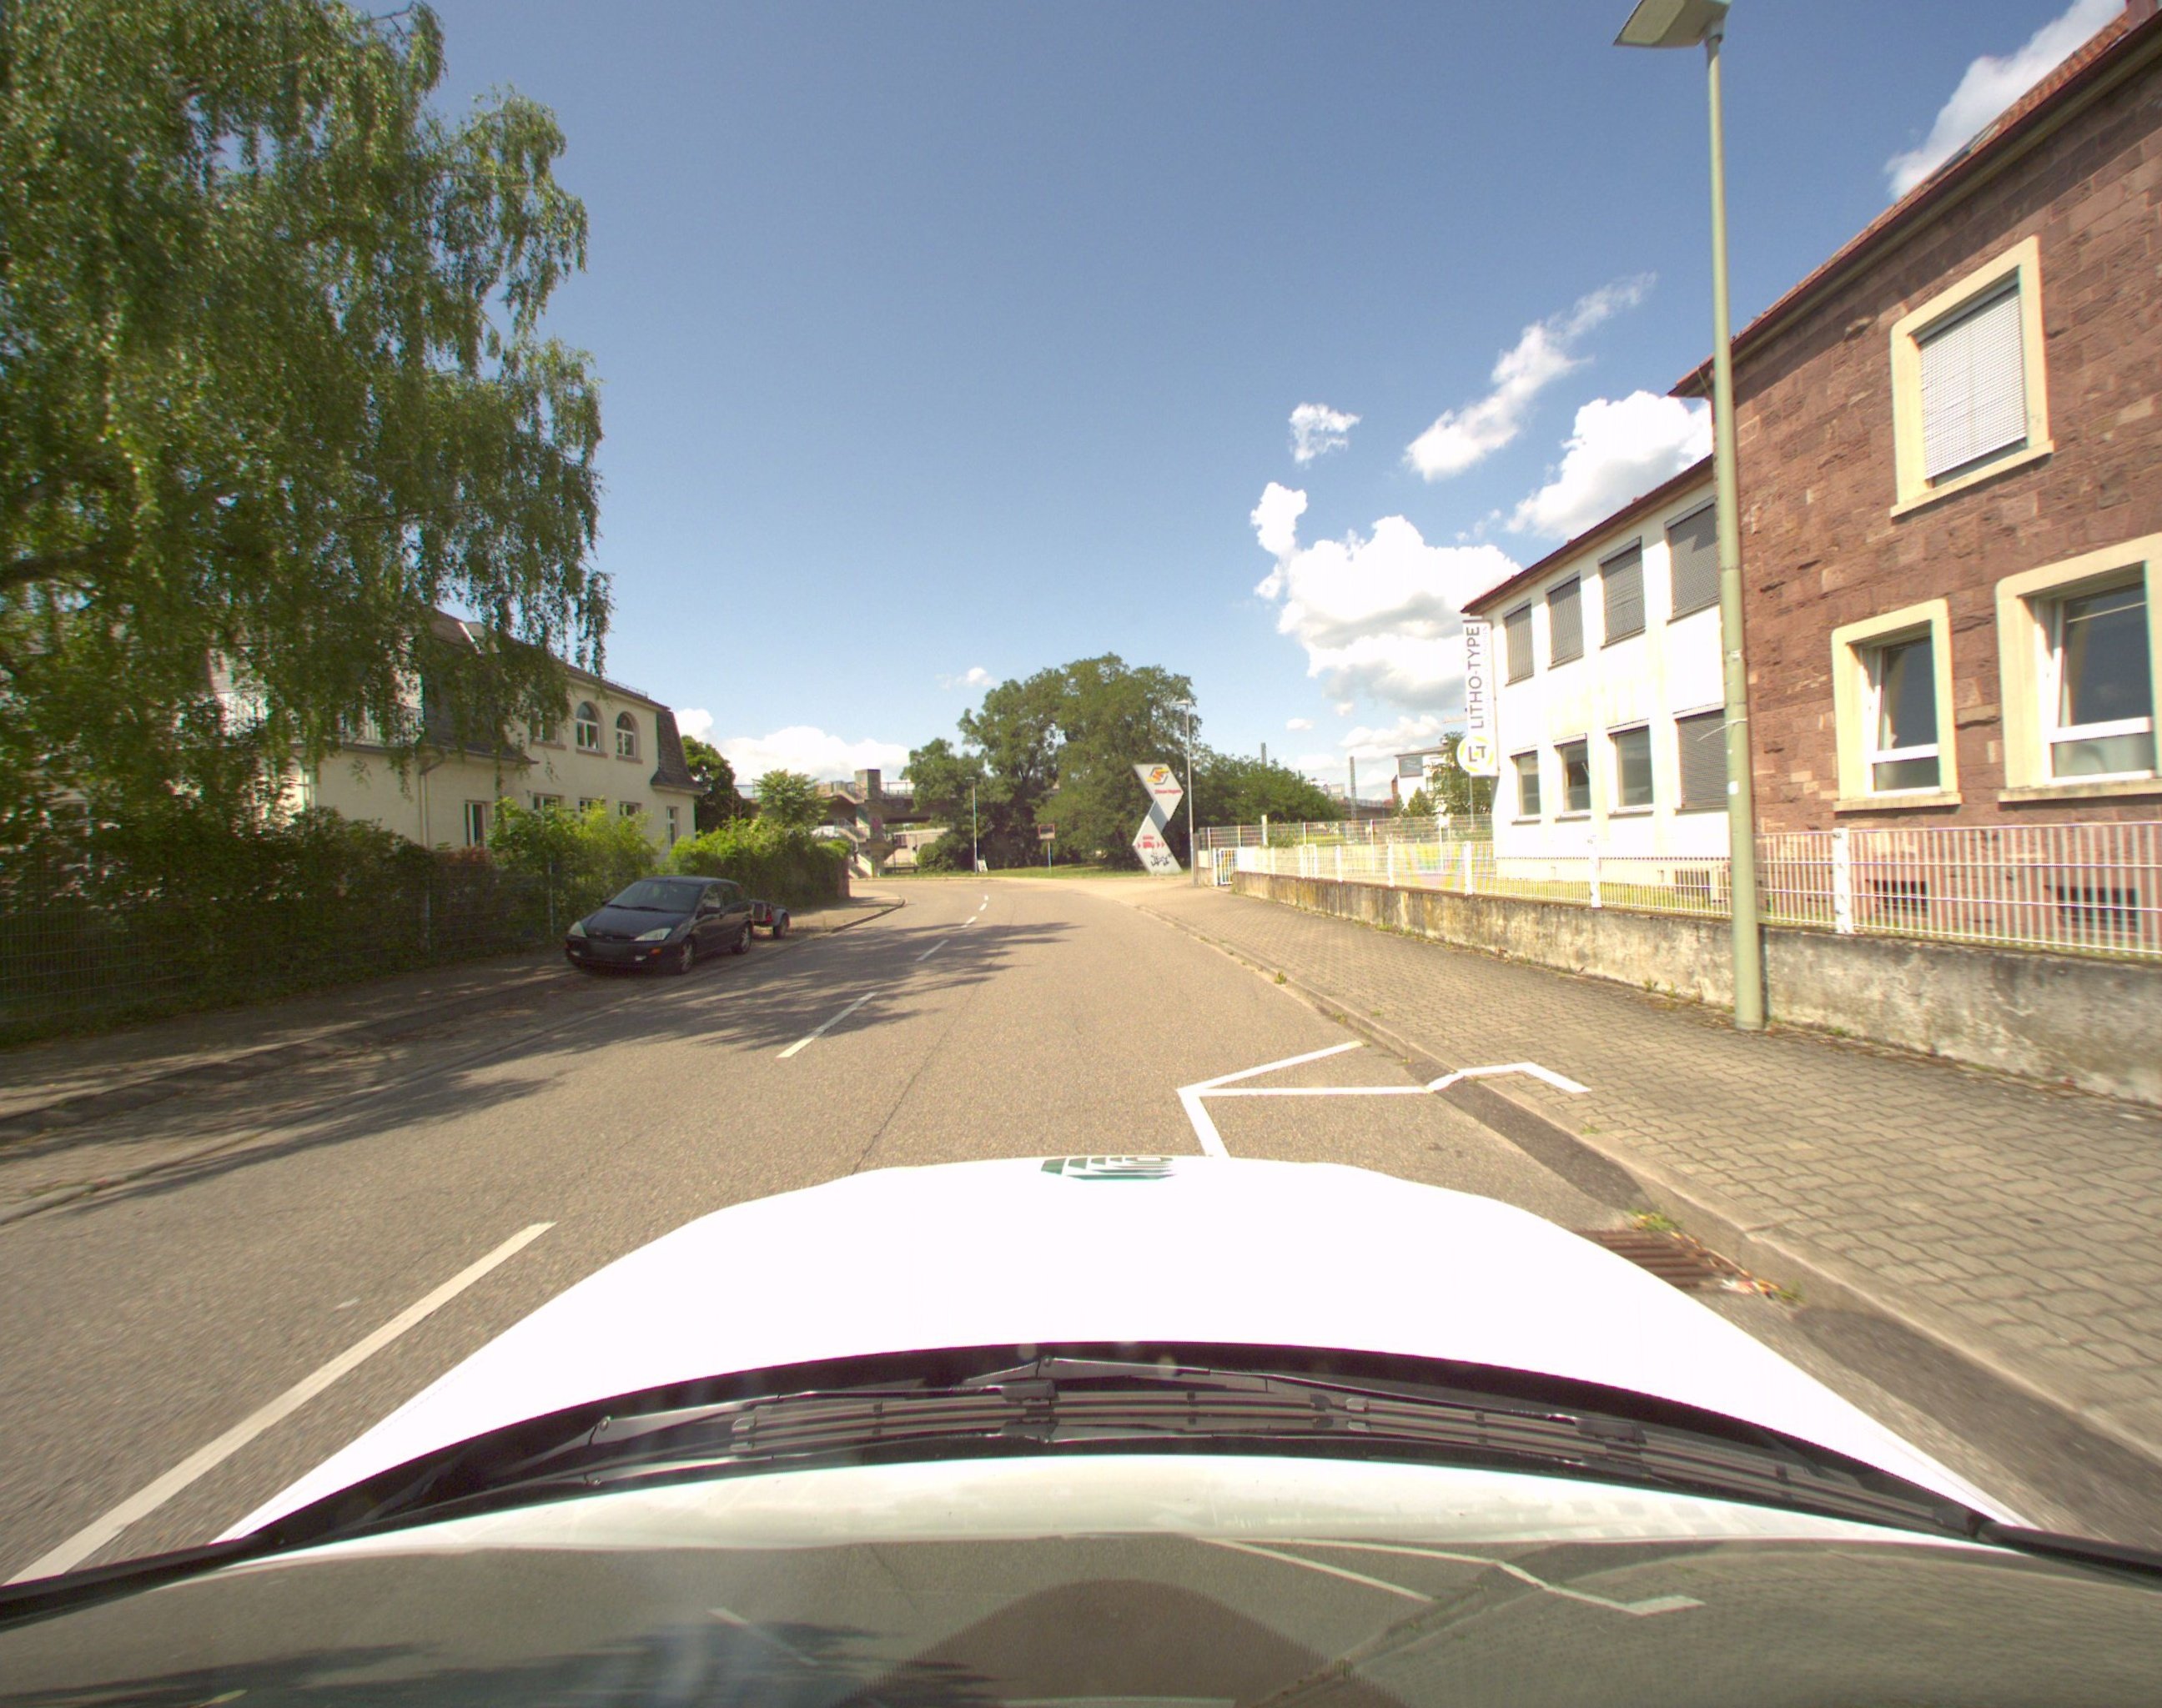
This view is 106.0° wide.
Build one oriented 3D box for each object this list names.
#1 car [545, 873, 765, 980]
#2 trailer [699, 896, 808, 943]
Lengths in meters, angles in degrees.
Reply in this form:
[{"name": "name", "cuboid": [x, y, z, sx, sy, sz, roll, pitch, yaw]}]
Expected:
[{"name": "car", "cuboid": [-7.086, 1.125, 14.108, 1.678, 1.512, 4.154, 1, -1, -2]}, {"name": "trailer", "cuboid": [-7.393, 1.457, 18.583, 1.459, 0.851, 2.466, 2, 0, 0]}]
